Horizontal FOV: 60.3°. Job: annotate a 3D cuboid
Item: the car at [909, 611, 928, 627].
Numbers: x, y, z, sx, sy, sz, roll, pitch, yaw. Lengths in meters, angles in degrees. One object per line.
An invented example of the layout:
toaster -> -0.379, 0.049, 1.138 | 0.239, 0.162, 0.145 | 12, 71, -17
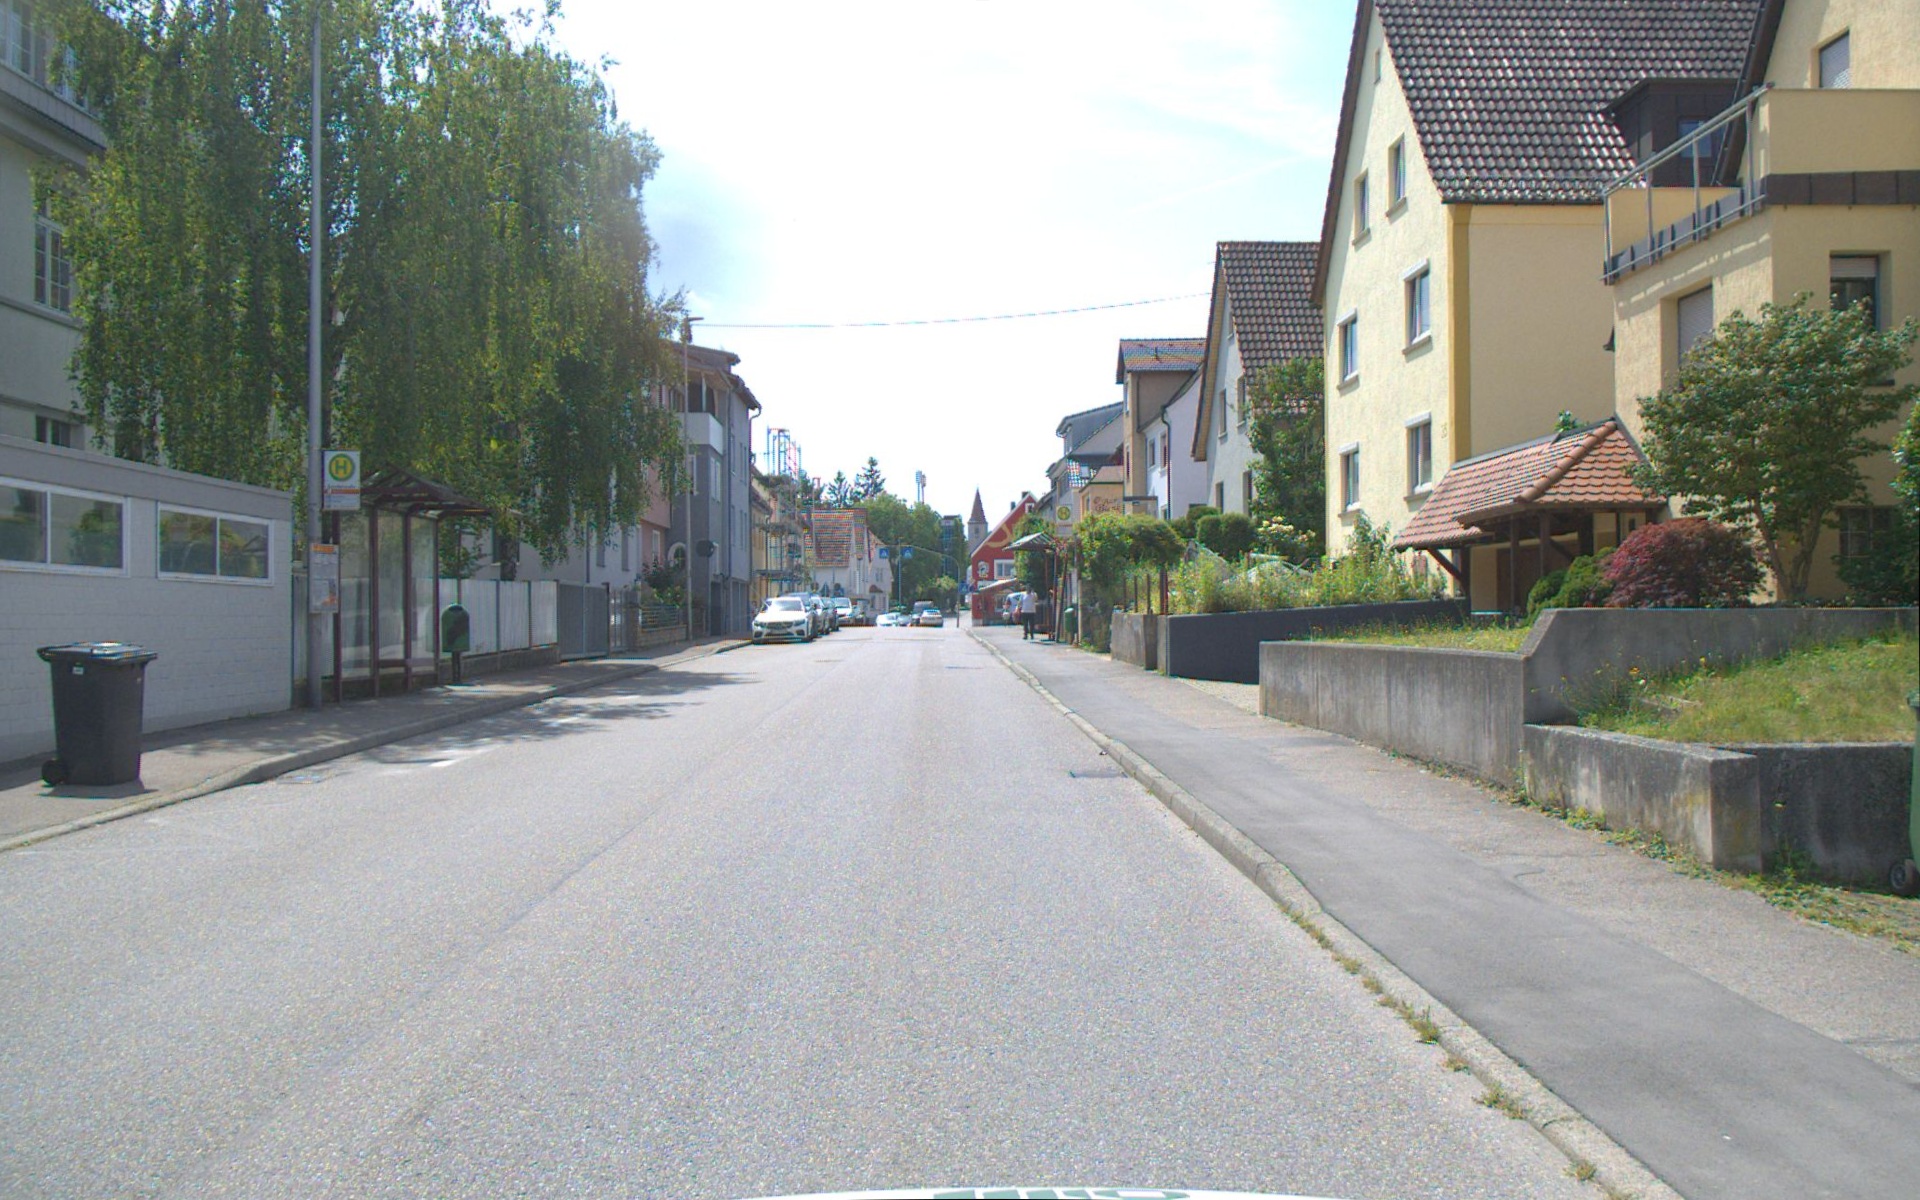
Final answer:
car -> -4.174, 1.898, 166.927 | 1.802, 1.489, 4.000 | -2, 0, 1

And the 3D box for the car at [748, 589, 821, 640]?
car -> -5.748, 0.443, 54.638 | 2.068, 1.588, 4.312 | -1, 0, -2

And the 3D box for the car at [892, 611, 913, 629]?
car -> -5.220, 1.829, 149.529 | 1.803, 1.489, 3.998 | -2, 0, -3

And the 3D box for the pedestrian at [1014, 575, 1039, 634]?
pedestrian -> 2.039, 0.147, 50.582 | 0.633, 1.760, 0.608 | -3, 0, -1

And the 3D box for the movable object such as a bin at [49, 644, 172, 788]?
movable object such as a bin -> -6.713, 0.904, 13.098 | 0.595, 1.064, 0.725 | 0, 1, -1

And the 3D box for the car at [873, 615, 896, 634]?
car -> -6.393, 2.039, 139.592 | 1.804, 1.489, 3.997 | -2, 0, -4

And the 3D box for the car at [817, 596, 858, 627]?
car -> -6.666, 0.601, 90.322 | 1.953, 1.588, 4.312 | -2, 0, -2

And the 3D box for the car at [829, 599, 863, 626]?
car -> -7.123, 0.781, 103.793 | 1.954, 1.588, 4.311 | -2, 0, -3

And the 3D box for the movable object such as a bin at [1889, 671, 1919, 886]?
movable object such as a bin -> 5.268, 0.950, 8.436 | 0.571, 1.097, 0.733 | 4, 0, -1

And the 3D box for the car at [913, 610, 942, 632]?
car -> -2.538, 1.589, 128.309 | 1.954, 1.588, 4.310 | -1, 0, -4
